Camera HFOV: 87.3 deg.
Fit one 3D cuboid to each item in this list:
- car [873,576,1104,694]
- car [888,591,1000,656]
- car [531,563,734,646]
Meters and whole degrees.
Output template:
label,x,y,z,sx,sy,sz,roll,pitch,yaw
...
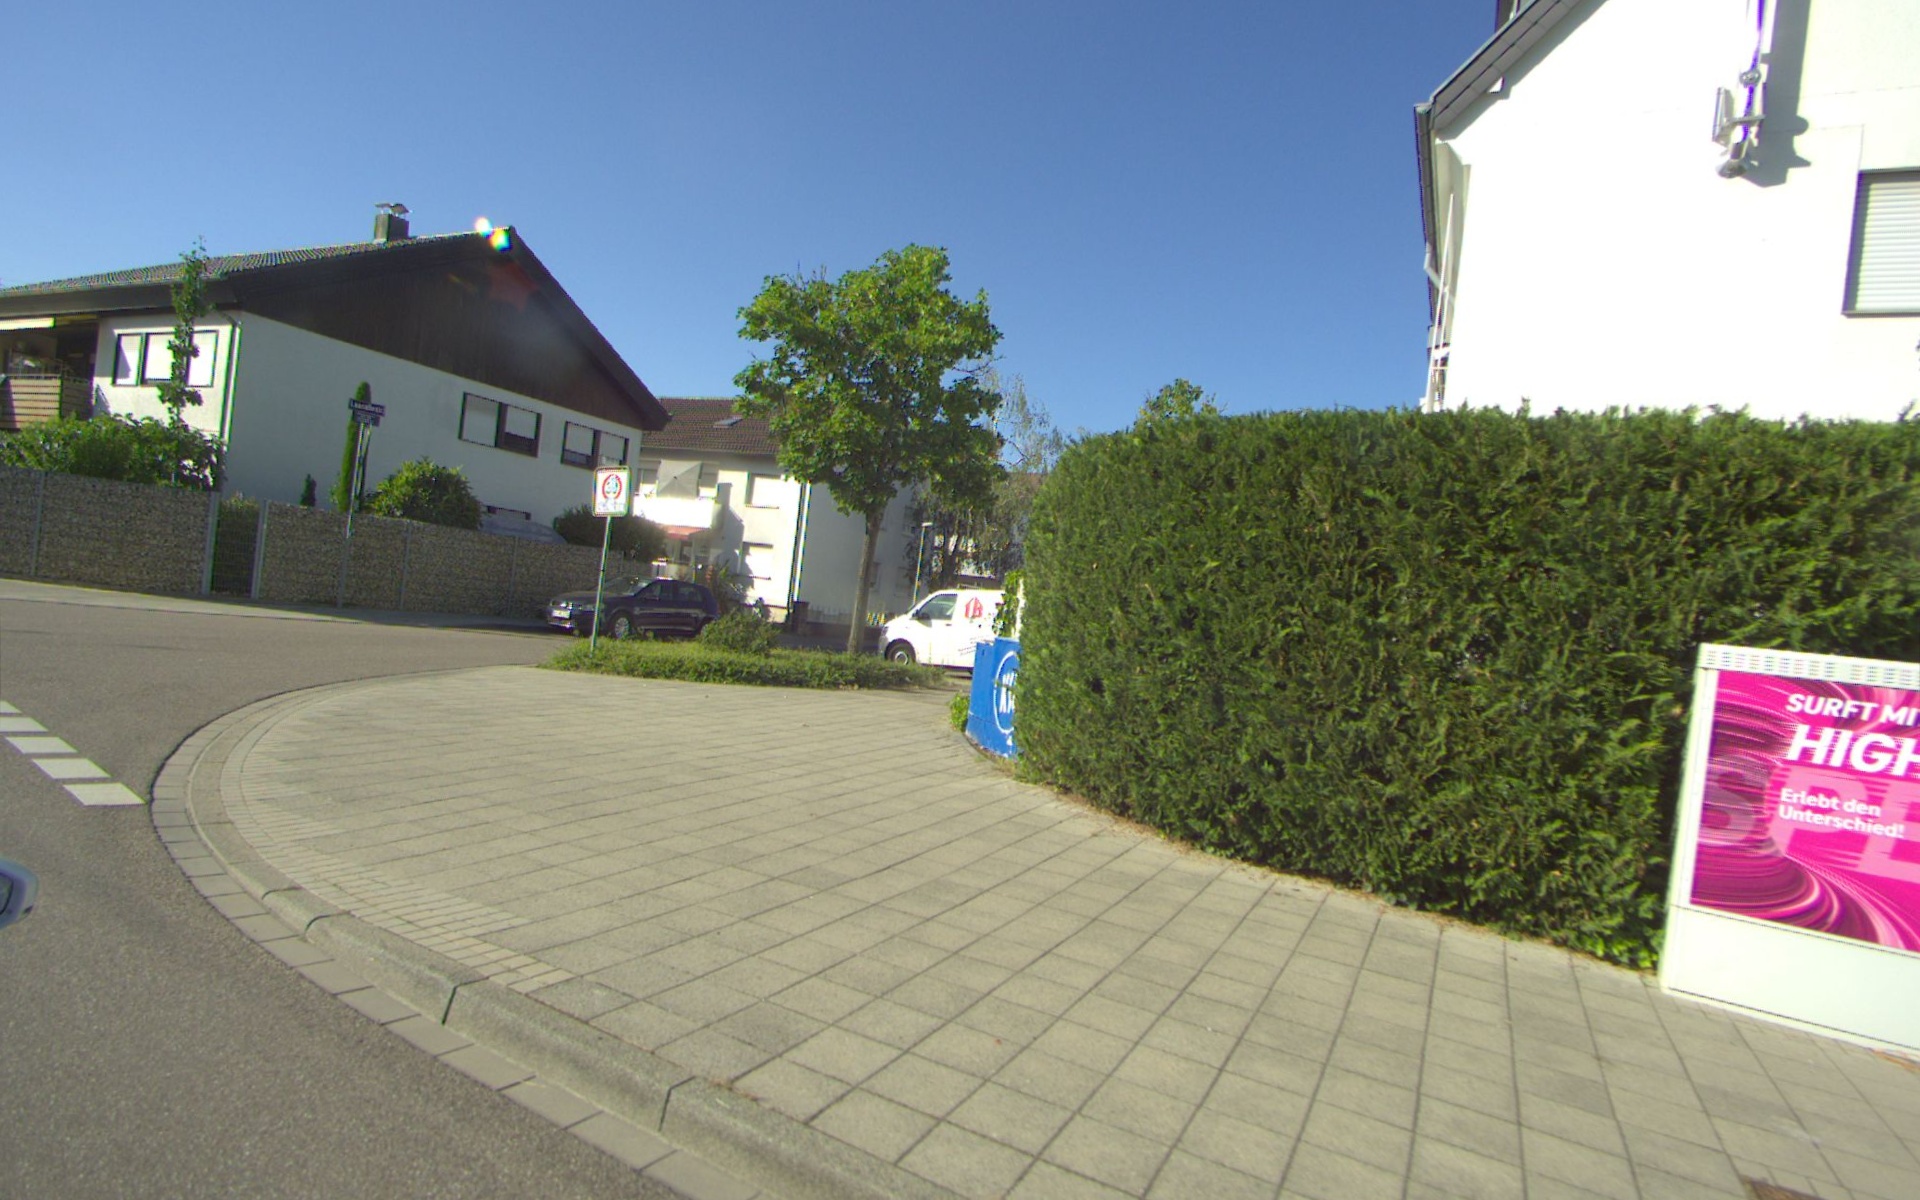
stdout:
label,x,y,z,sx,sy,sz,roll,pitch,yaw
car,0.606,0.737,22.117,4.565,1.973,1.833,7,0,27
car,-0.462,0.888,35.471,1.844,1.865,4.650,7,0,27
car,-7.136,0.161,22.294,1.825,1.389,3.993,7,-1,30
